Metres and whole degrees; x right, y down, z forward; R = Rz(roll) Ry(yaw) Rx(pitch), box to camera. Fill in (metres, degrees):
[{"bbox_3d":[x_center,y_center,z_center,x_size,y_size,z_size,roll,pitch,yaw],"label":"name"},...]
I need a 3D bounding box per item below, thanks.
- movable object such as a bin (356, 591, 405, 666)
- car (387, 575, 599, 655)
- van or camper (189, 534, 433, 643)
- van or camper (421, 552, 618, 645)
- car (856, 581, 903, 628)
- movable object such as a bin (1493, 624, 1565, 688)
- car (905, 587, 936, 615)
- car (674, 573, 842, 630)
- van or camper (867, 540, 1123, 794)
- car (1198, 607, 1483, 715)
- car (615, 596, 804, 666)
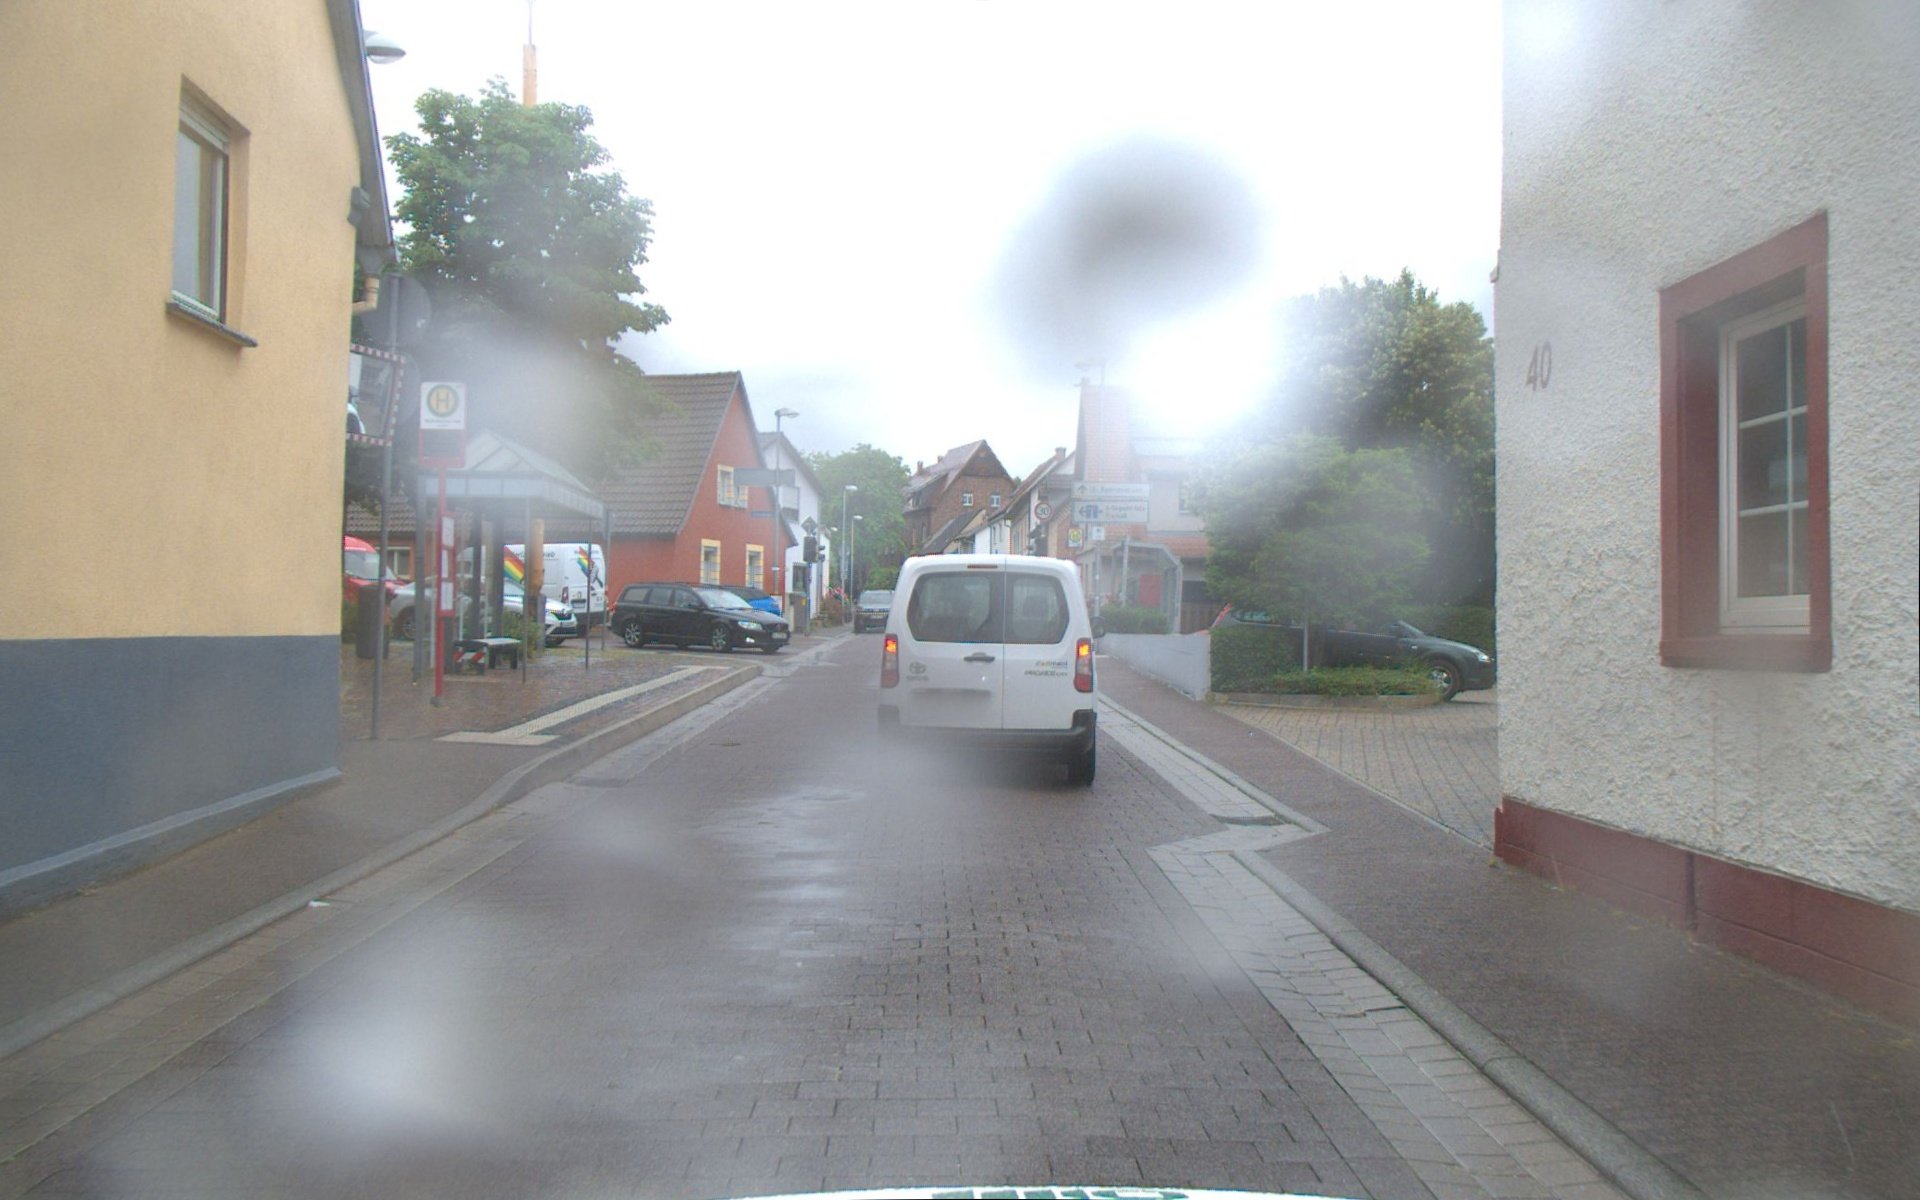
[{"bbox_3d":[-9.127,0.451,26.068,0.551,1.167,0.604,1,-2,-4],"label":"movable object such as a bin"},{"bbox_3d":[-10.674,0.317,37.833,4.354,1.577,1.883,3,1,20],"label":"car"},{"bbox_3d":[-15.863,-0.309,40.382,5.741,2.516,2.154,1,1,24],"label":"van or camper"},{"bbox_3d":[-12.239,-0.060,45.952,5.040,2.478,2.210,0,0,25],"label":"van or camper"},{"bbox_3d":[-3.206,0.177,65.927,1.776,1.810,4.015,0,0,-3],"label":"car"},{"bbox_3d":[13.063,1.280,38.001,1.216,1.381,1.155,2,0,0],"label":"movable object such as a bin"},{"bbox_3d":[-2.739,0.057,113.290,1.954,1.778,3.997,1,0,-3],"label":"car"},{"bbox_3d":[-5.328,0.069,43.796,3.960,1.397,2.081,1,-2,-39],"label":"car"},{"bbox_3d":[0.195,0.504,14.545,1.904,1.883,3.998,1,0,-2],"label":"van or camper"},{"bbox_3d":[5.866,0.903,25.607,4.138,1.506,1.696,1,-1,14],"label":"car"},{"bbox_3d":[-5.738,0.667,37.699,4.228,1.503,1.843,0,0,37],"label":"car"}]
